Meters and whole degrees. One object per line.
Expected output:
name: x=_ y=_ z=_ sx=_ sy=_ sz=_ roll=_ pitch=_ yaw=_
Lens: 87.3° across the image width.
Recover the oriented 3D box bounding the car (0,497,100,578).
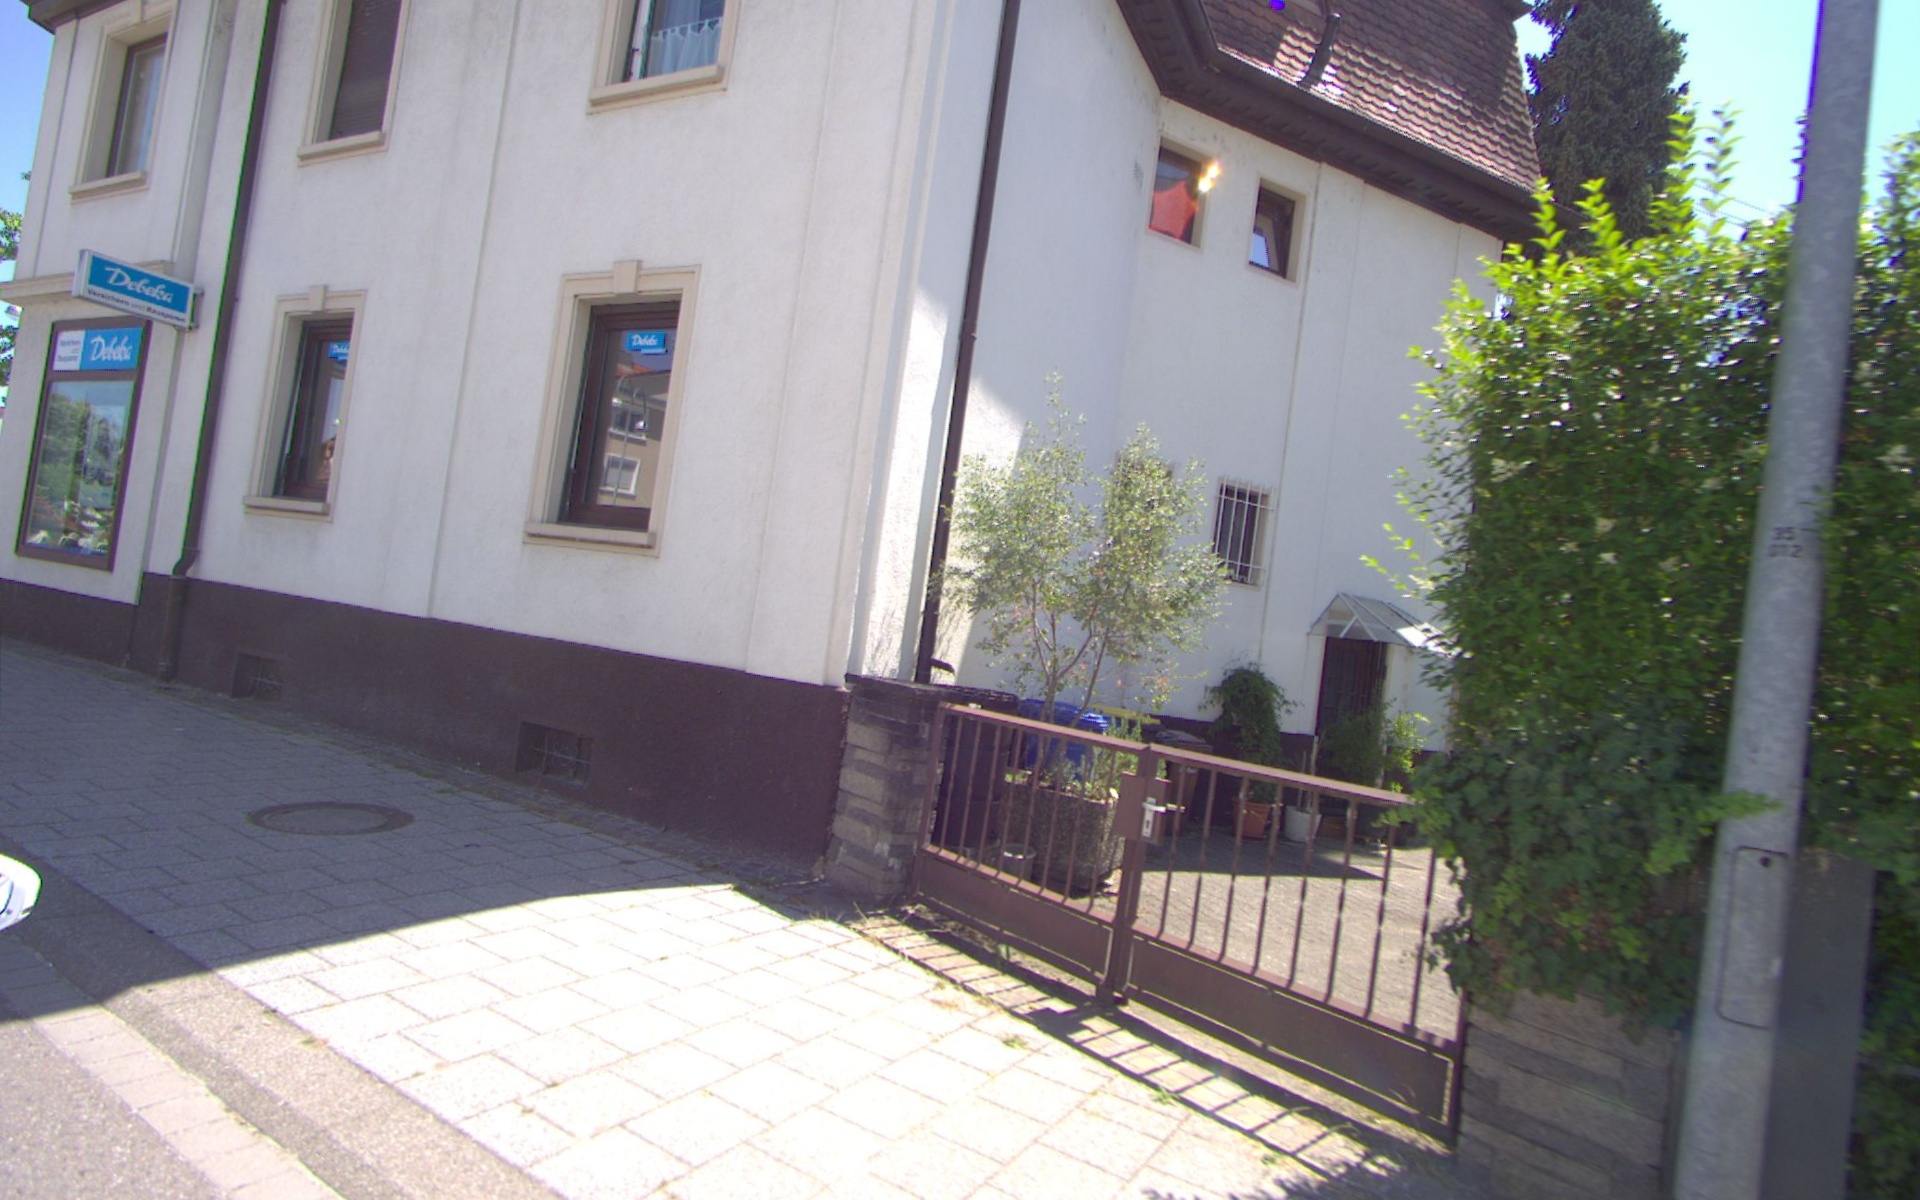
car: x=-23.824 y=-1.672 z=24.669 sx=1.755 sy=1.766 sz=4.132 roll=8 pitch=-3 yaw=-1
